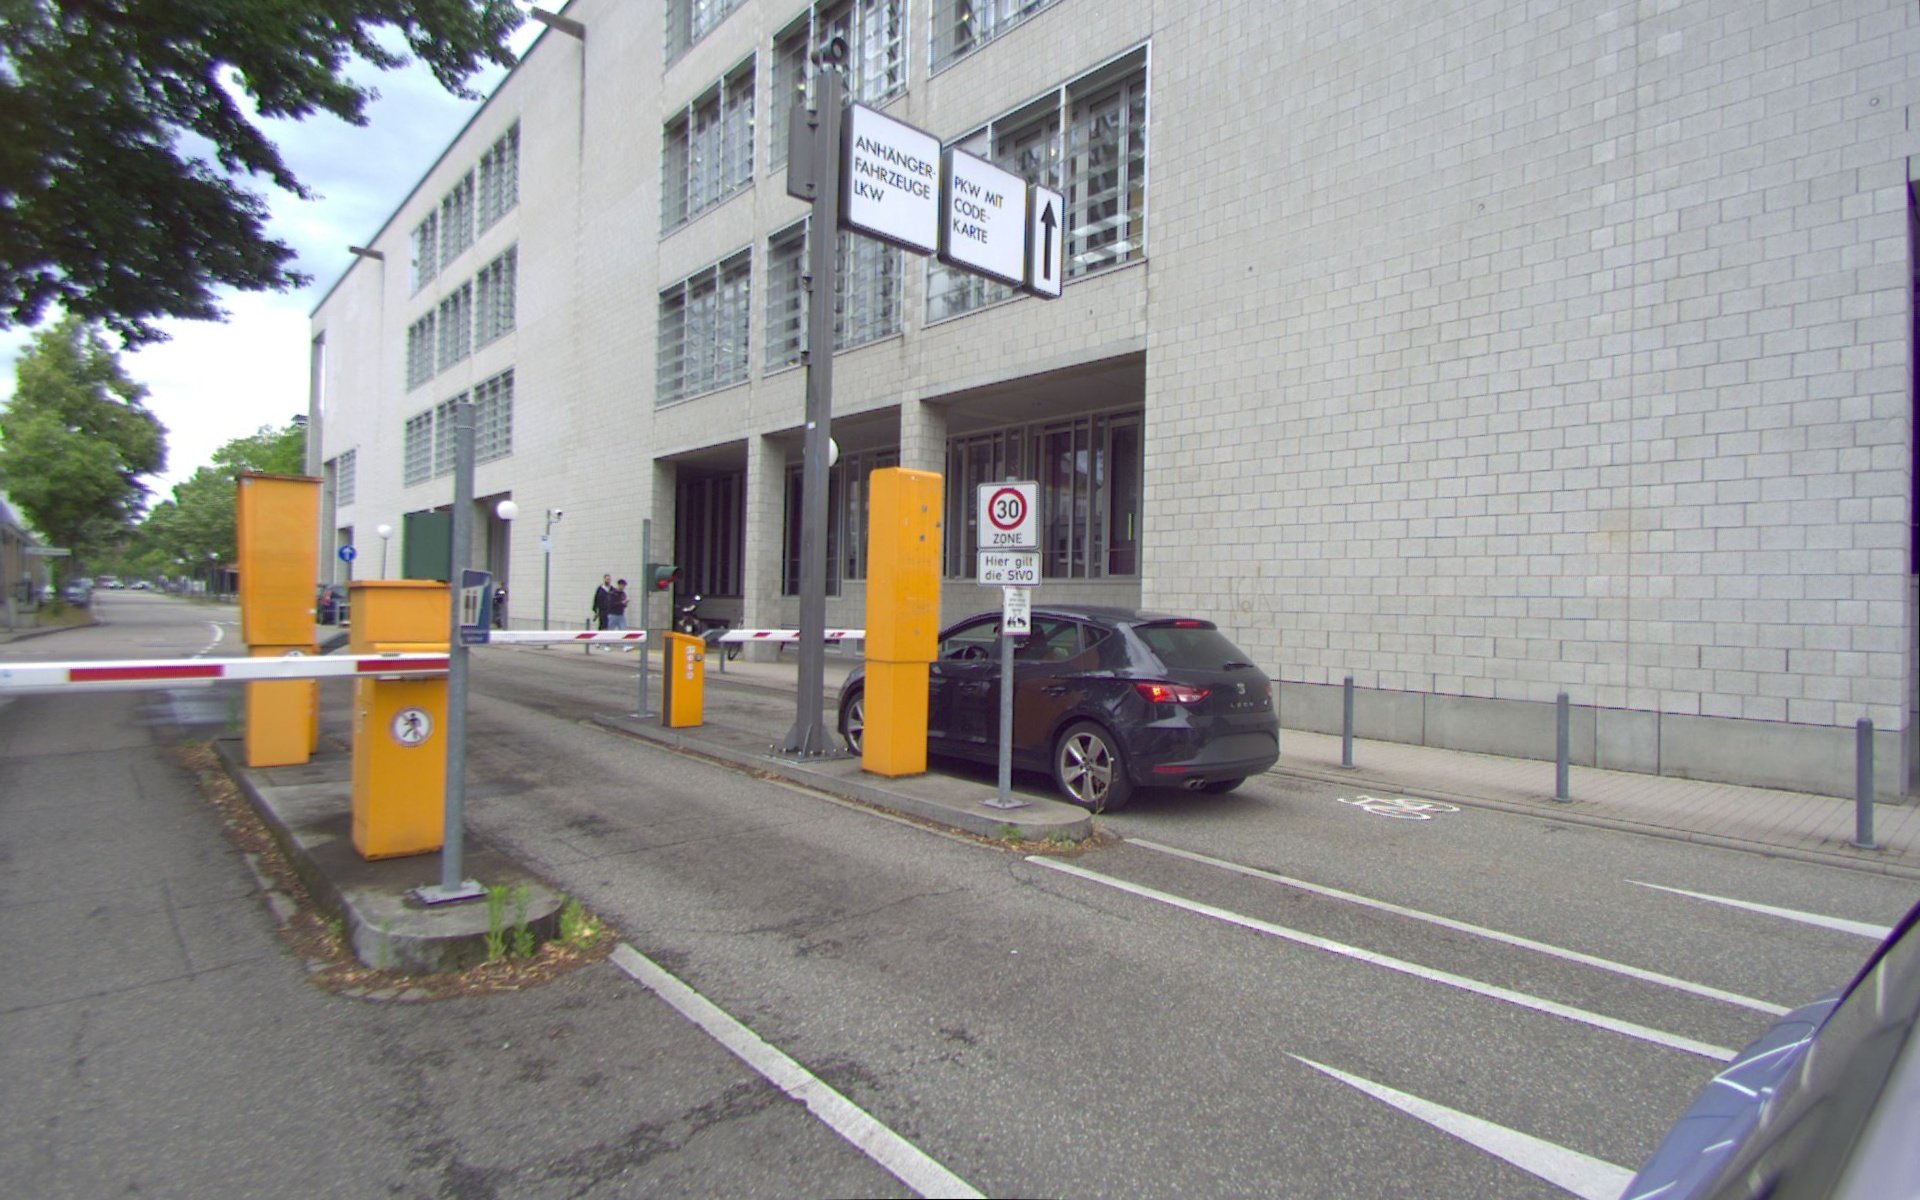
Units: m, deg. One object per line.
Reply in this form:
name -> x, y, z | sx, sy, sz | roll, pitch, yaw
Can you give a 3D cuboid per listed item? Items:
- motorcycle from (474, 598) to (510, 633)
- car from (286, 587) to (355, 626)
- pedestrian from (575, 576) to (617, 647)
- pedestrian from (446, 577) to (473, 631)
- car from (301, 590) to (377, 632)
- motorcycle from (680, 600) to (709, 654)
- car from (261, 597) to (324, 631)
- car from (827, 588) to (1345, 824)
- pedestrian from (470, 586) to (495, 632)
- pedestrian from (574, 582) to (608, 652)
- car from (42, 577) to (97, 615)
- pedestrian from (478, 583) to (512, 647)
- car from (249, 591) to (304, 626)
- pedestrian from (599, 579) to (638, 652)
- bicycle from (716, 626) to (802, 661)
motorcycle -> -17.211, 0.548, 37.280 | 0.745, 1.162, 2.669 | 3, 1, -16
car -> -28.553, 0.230, 45.128 | 1.965, 1.643, 4.421 | -1, 1, -41
pedestrian -> -9.159, 0.289, 25.471 | 0.586, 1.720, 0.718 | 3, 0, 44
pedestrian -> -16.394, 0.143, 33.144 | 0.685, 1.736, 0.489 | 2, -1, -37
car -> -25.613, 0.419, 41.692 | 1.966, 1.643, 4.419 | 0, 0, -42
motorcycle -> -6.476, 0.626, 24.660 | 0.555, 1.162, 2.222 | 3, 1, -16
car -> -32.257, 0.627, 48.875 | 1.965, 1.481, 4.420 | -1, 1, -41
car -> 0.797, 0.647, 8.360 | 1.757, 1.437, 4.122 | 2, -1, -41
pedestrian -> -15.949, 0.303, 33.825 | 0.634, 1.546, 0.471 | 2, -1, -39
pedestrian -> -9.326, 0.416, 25.574 | 0.603, 1.736, 0.573 | 0, 0, -45
car -> -39.788, -0.173, 45.203 | 1.745, 1.621, 3.993 | 2, -1, -42
pedestrian -> -12.895, 0.416, 28.044 | 0.488, 1.736, 0.687 | 0, -1, 45
car -> -36.793, 0.414, 54.433 | 1.965, 1.804, 4.420 | -1, 1, -41
pedestrian -> -8.333, 0.375, 24.688 | 0.679, 1.720, 0.588 | 3, 0, -39
bicycle -> -4.410, 0.948, 22.259 | 1.871, 0.707, 0.492 | 2, 1, -45
